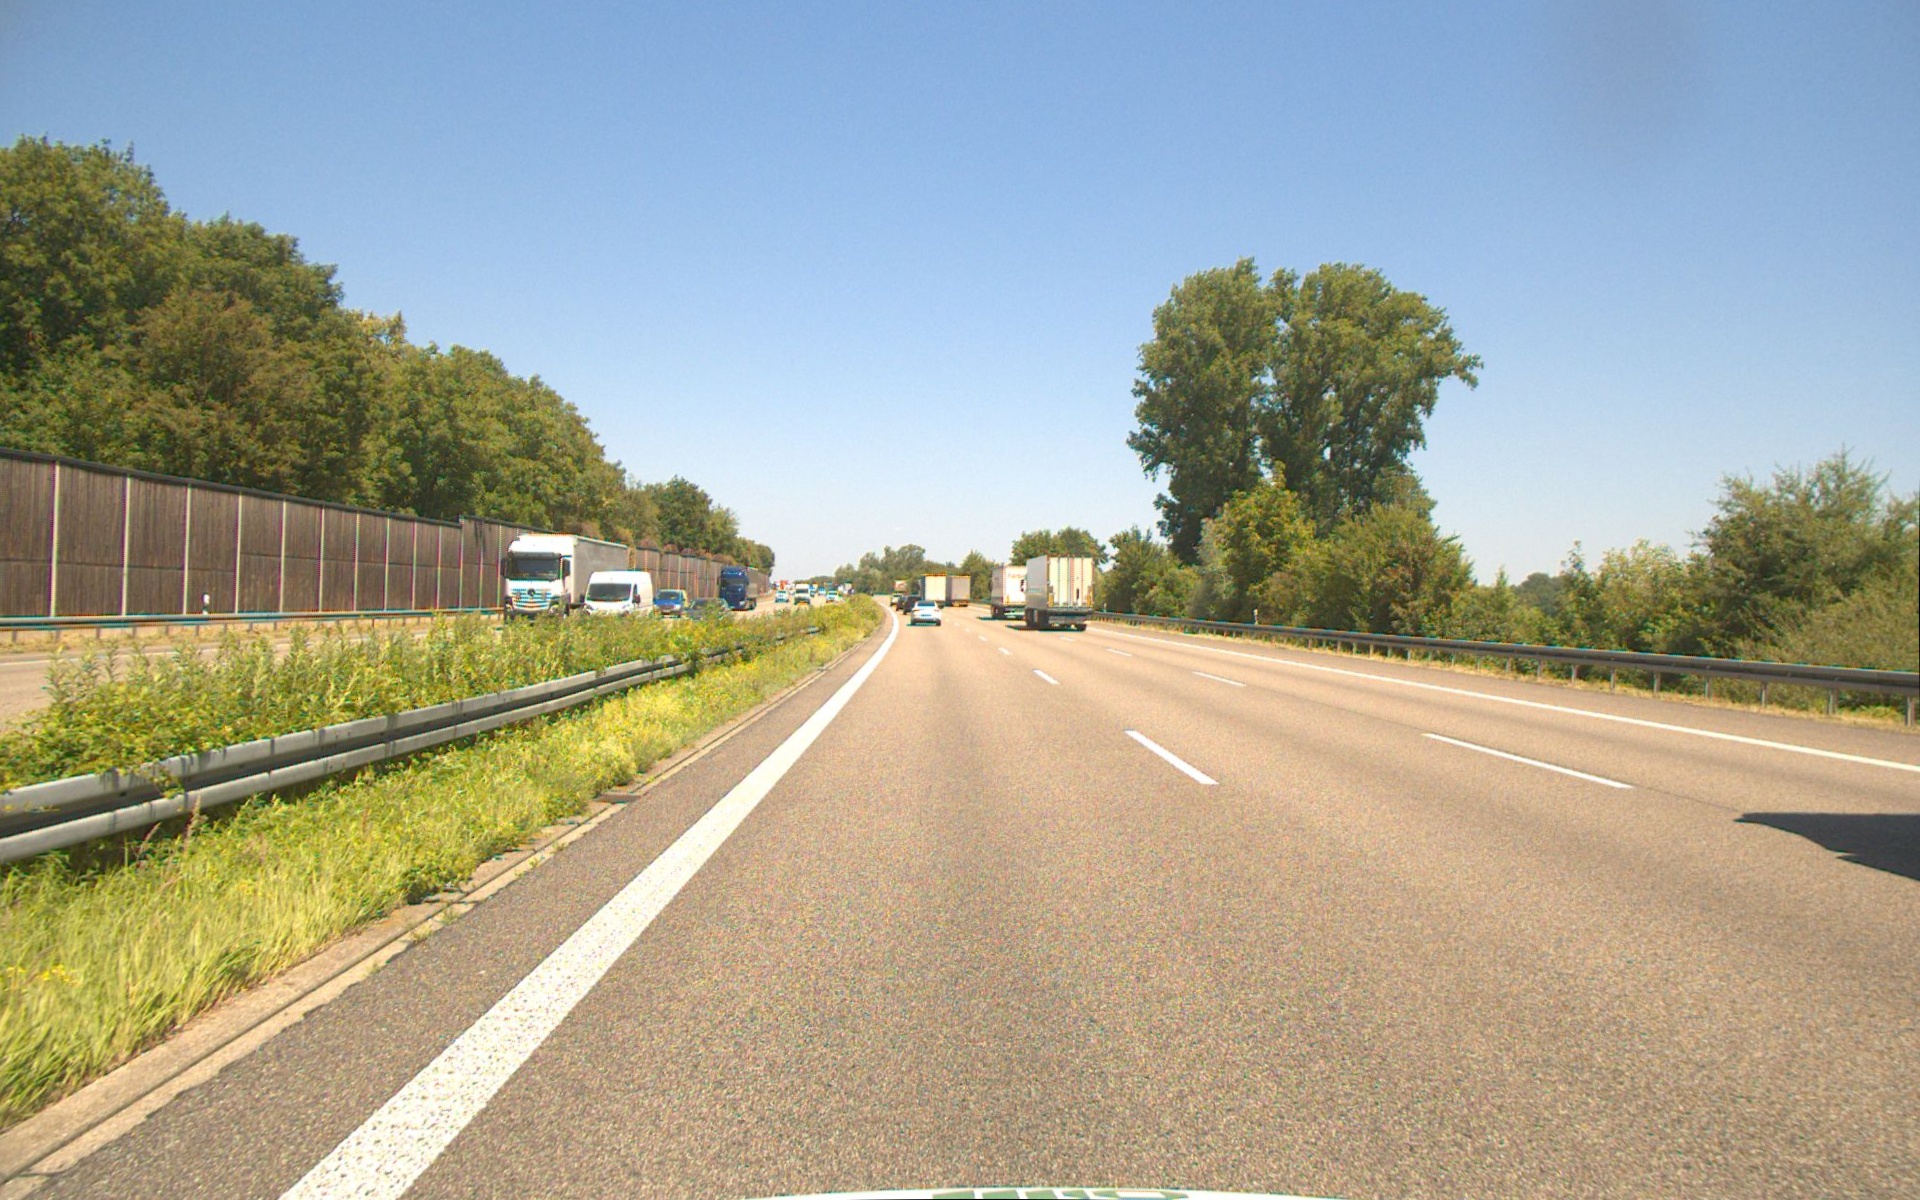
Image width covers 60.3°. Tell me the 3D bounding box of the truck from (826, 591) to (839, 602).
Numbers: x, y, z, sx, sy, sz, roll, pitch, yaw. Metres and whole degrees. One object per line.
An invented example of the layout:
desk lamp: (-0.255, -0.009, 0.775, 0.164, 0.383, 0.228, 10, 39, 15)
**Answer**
truck: (-18.557, -0.490, 240.084, 1.783, 1.550, 3.623, 1, -1, -6)

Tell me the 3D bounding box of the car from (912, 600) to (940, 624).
car: (-2.056, 0.706, 99.960, 1.680, 1.393, 3.374, 1, 0, -1)

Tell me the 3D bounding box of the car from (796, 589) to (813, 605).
car: (-20.081, -0.420, 213.877, 1.954, 2.049, 3.997, 1, 0, -4)

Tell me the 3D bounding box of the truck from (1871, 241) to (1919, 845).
truck: (8.224, -0.417, 9.813, 2.553, 4.362, 5.434, 1, -1, -1)

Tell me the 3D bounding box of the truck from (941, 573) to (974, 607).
truck: (-0.414, -1.297, 227.075, 3.754, 4.387, 11.544, 1, -1, -4)

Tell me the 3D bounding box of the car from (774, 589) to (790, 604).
car: (-26.349, -0.491, 245.145, 1.953, 2.049, 3.999, 1, -1, 0)

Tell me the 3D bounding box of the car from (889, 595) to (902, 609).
car: (-8.509, 0.271, 218.689, 1.689, 1.814, 3.999, 1, 0, -1)

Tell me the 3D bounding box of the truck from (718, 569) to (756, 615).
truck: (-20.932, -0.711, 155.803, 2.558, 4.200, 10.275, 1, 0, -3)

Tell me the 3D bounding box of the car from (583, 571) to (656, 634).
car: (-13.961, 0.109, 68.151, 2.039, 2.444, 6.038, 1, 0, -3)

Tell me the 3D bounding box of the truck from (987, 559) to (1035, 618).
truck: (3.895, -0.788, 129.572, 3.291, 4.387, 10.826, 1, -1, 0)

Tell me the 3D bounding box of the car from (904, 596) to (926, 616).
car: (-4.065, 0.529, 148.701, 1.953, 1.803, 3.999, 1, 0, -1)

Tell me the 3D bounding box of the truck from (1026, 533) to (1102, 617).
truck: (5.706, -1.262, 92.881, 3.421, 4.387, 10.986, 1, -1, 0)

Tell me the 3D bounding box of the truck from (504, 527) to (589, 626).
truck: (-18.010, -0.980, 72.429, 2.453, 4.126, 6.357, 1, 0, -4)

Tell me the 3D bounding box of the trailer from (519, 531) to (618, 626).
trailer: (-18.507, -0.942, 79.043, 2.455, 4.105, 13.408, 1, 0, -4)

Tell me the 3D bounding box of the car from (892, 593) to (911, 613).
car: (-6.166, 0.364, 175.030, 1.953, 2.049, 3.999, 1, 0, -1)

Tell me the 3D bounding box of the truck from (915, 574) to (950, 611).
truck: (-3.532, -0.876, 207.424, 3.510, 4.387, 12.177, 1, -1, -5)

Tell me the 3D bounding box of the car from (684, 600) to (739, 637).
car: (-10.138, 0.741, 67.768, 1.724, 1.453, 3.934, 1, 0, -1)

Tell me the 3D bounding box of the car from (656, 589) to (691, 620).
car: (-19.386, 0.327, 112.132, 1.765, 2.049, 3.998, 1, 0, -2)
